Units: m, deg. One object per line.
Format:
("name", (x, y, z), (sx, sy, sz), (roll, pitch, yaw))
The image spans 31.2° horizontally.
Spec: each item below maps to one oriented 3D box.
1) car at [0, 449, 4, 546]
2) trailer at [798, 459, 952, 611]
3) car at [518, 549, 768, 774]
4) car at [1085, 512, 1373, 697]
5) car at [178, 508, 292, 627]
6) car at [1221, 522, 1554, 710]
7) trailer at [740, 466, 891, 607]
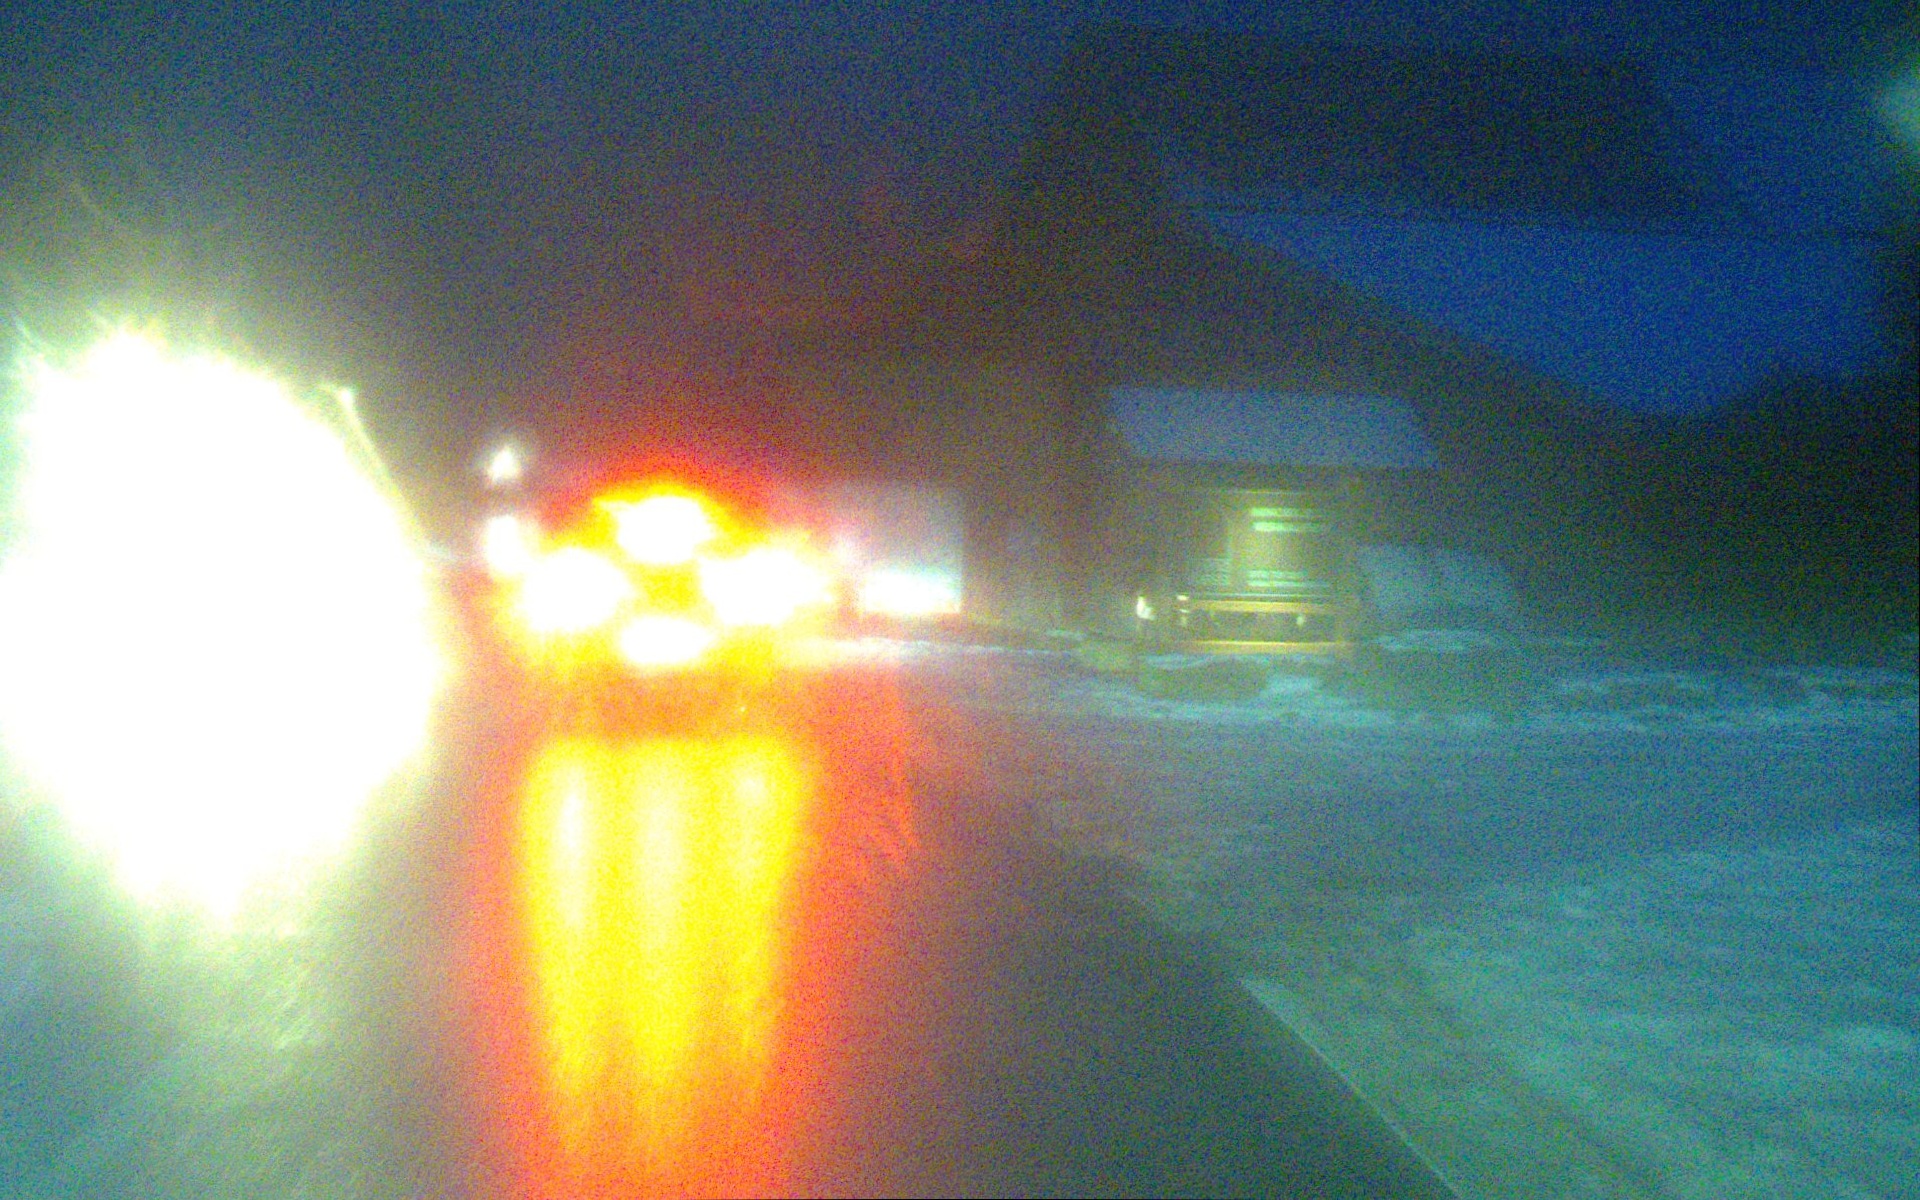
("car", (-4.206, 0.349, 9.993), (1.976, 1.772, 4.001), (2, 1, -5))
("trailer", (-1.470, -1.091, 57.486), (1.605, 2.344, 4.432), (4, 1, -12))
("car", (-2.644, 0.446, 28.007), (1.801, 1.623, 3.616), (2, 1, -8))
("car", (3.128, 0.008, 41.037), (1.877, 2.033, 4.392), (2, 1, -17))
("car", (-13.401, -0.617, 63.391), (1.918, 2.050, 4.889), (2, 1, -13))
("car", (4.408, 0.118, 36.101), (1.877, 1.803, 4.157), (2, 1, -17))
("trailer", (-2.655, -1.162, 62.215), (1.629, 2.356, 4.655), (4, 1, -15))
